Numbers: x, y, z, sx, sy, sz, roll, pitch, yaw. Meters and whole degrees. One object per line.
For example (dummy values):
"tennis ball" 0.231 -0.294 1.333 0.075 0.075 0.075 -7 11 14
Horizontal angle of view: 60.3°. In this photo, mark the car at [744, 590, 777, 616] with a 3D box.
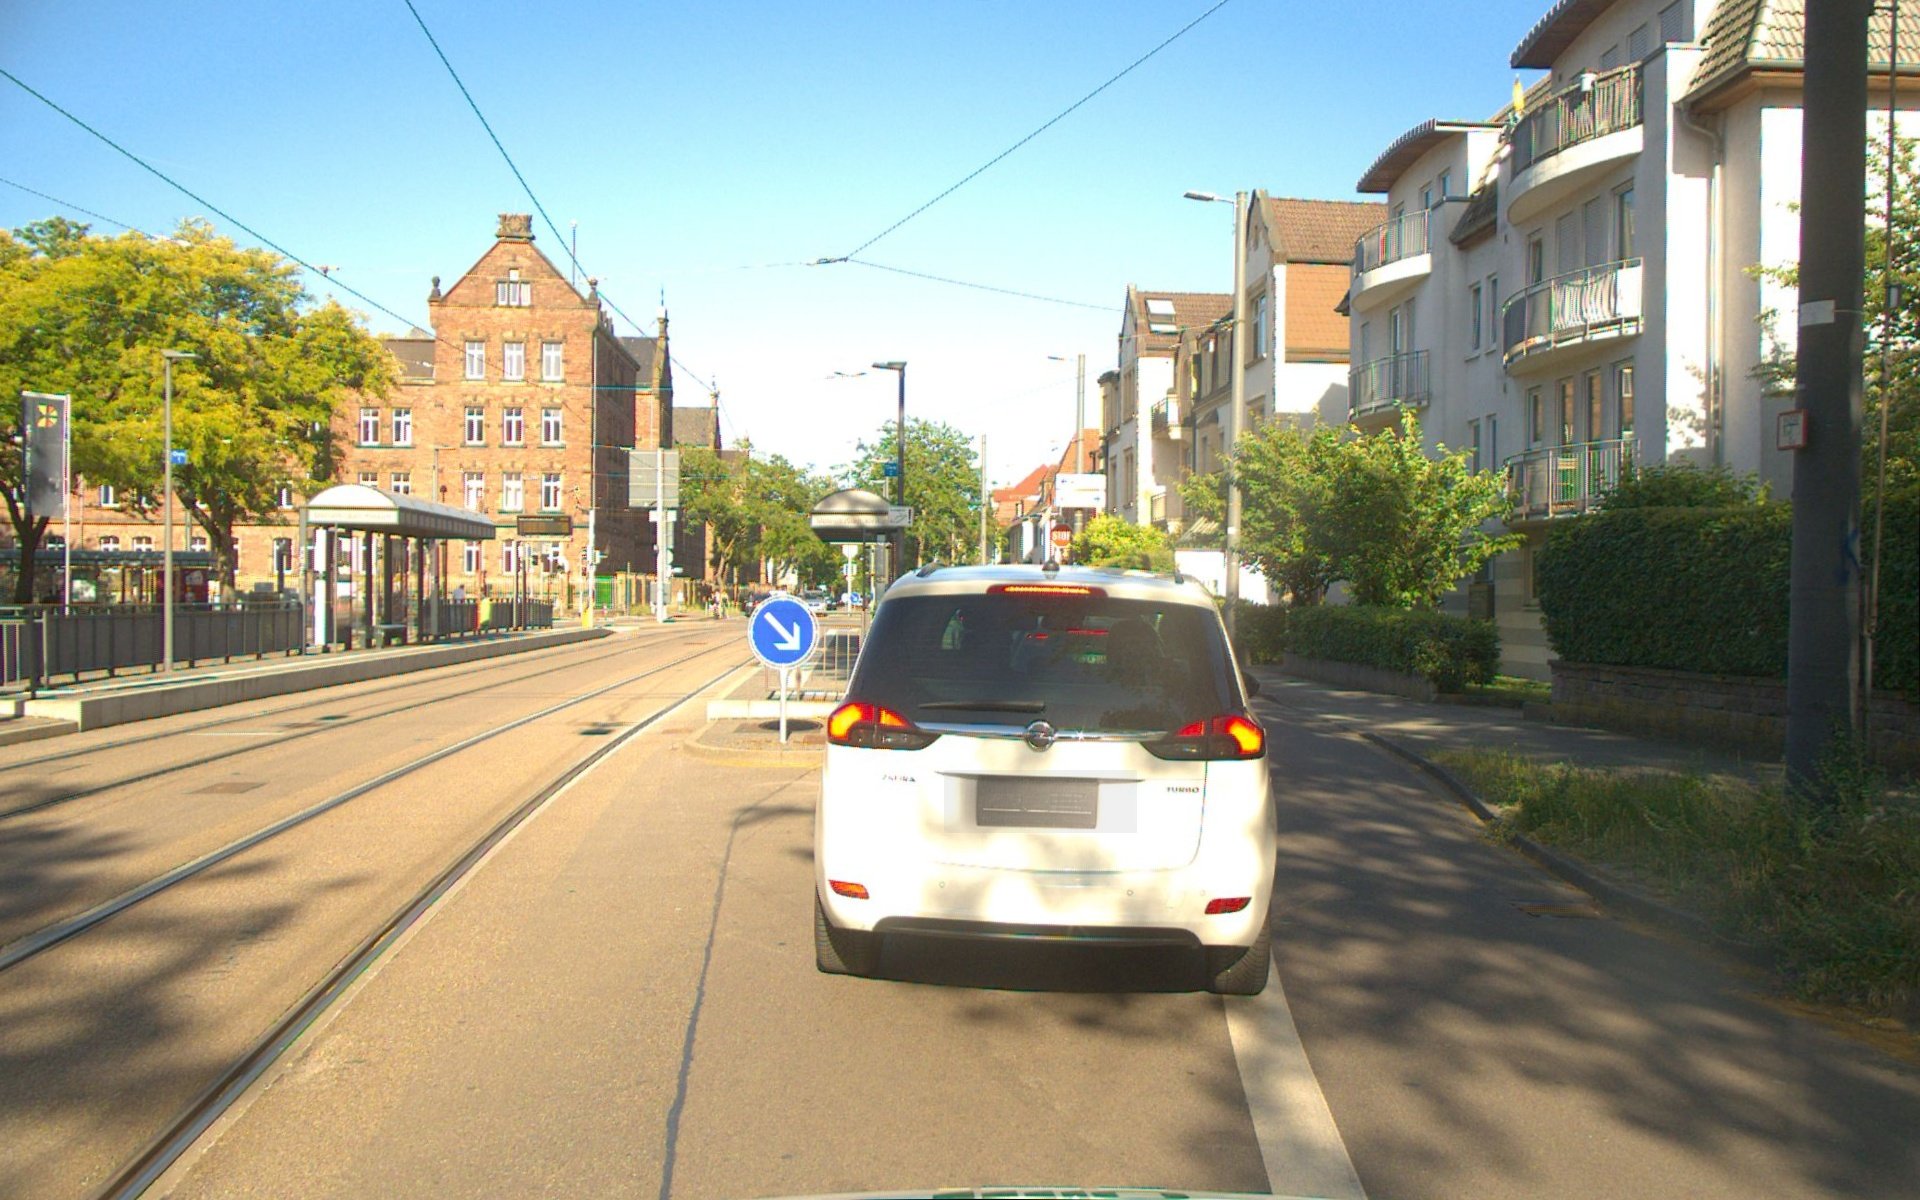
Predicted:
"car" -12.854 0.191 106.885 1.955 1.657 3.996 0 0 -5

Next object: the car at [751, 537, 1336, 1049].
"car" 0.465 0.646 7.596 1.951 1.673 3.996 1 0 6

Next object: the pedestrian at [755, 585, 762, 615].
"pedestrian" -13.644 0.001 111.758 0.435 2.049 0.495 0 0 -4

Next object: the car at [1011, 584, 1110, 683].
"car" 1.721 0.547 29.271 1.603 1.629 3.855 0 0 1

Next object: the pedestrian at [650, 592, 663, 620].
"pedestrian" -19.610 0.393 106.929 0.720 1.744 0.705 1 -1 -7

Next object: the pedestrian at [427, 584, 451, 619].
"pedestrian" -24.114 0.068 76.573 0.786 1.616 0.934 1 0 -3

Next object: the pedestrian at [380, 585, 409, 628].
"pedestrian" -23.256 0.264 68.039 0.825 1.721 1.029 1 0 -1

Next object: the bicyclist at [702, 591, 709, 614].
"bicyclist" -17.646 0.179 114.821 0.435 1.580 0.495 0 0 -4

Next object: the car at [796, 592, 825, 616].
"car" -10.348 0.255 114.252 1.955 1.657 3.996 0 0 -5

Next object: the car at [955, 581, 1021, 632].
"car" 0.835 0.187 51.767 1.953 1.529 3.999 0 0 -1

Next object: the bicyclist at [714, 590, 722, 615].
"bicyclist" -15.571 0.180 106.322 0.435 1.580 0.495 0 0 -4

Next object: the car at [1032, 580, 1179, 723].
"car" 1.748 0.582 20.843 1.603 1.629 3.855 0 0 1

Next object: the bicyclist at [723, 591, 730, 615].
"bicyclist" -15.380 0.194 108.909 0.435 1.580 0.495 0 0 -4

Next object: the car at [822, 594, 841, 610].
"car" -14.018 0.191 180.076 1.955 1.657 3.984 0 0 -5

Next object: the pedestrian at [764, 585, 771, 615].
"pedestrian" -13.063 0.012 112.044 0.435 2.049 0.495 0 0 -4

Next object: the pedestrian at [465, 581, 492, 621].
"pedestrian" -21.083 0.055 72.455 0.877 1.713 1.029 1 0 -1

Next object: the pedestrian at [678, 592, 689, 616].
"pedestrian" -20.619 0.303 123.479 0.720 1.744 0.753 1 -1 -6

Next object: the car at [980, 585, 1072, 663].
"car" 1.386 0.489 36.190 1.793 1.607 4.009 0 0 -1

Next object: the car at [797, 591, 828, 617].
"car" -9.543 0.240 107.158 1.955 1.657 3.996 0 0 -5

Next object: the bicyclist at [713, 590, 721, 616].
"bicyclist" -15.150 0.173 103.046 0.435 1.580 0.742 0 0 -4

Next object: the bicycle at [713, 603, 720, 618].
"bicycle" -15.159 0.648 102.838 0.337 0.966 1.159 1 0 -4

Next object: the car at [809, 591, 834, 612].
"car" -11.490 0.110 137.464 1.953 1.657 3.998 0 0 -3

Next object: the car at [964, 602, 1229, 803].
"car" 1.039 0.746 13.984 1.912 1.422 4.001 0 0 1

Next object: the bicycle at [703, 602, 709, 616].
"bicycle" -17.652 0.655 114.857 0.337 0.966 0.996 1 0 -4

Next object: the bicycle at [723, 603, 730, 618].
"bicycle" -15.390 0.669 108.916 0.337 0.966 0.996 1 0 -4

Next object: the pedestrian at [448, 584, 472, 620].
"pedestrian" -22.365 0.085 73.980 0.786 1.616 0.934 1 0 -3
